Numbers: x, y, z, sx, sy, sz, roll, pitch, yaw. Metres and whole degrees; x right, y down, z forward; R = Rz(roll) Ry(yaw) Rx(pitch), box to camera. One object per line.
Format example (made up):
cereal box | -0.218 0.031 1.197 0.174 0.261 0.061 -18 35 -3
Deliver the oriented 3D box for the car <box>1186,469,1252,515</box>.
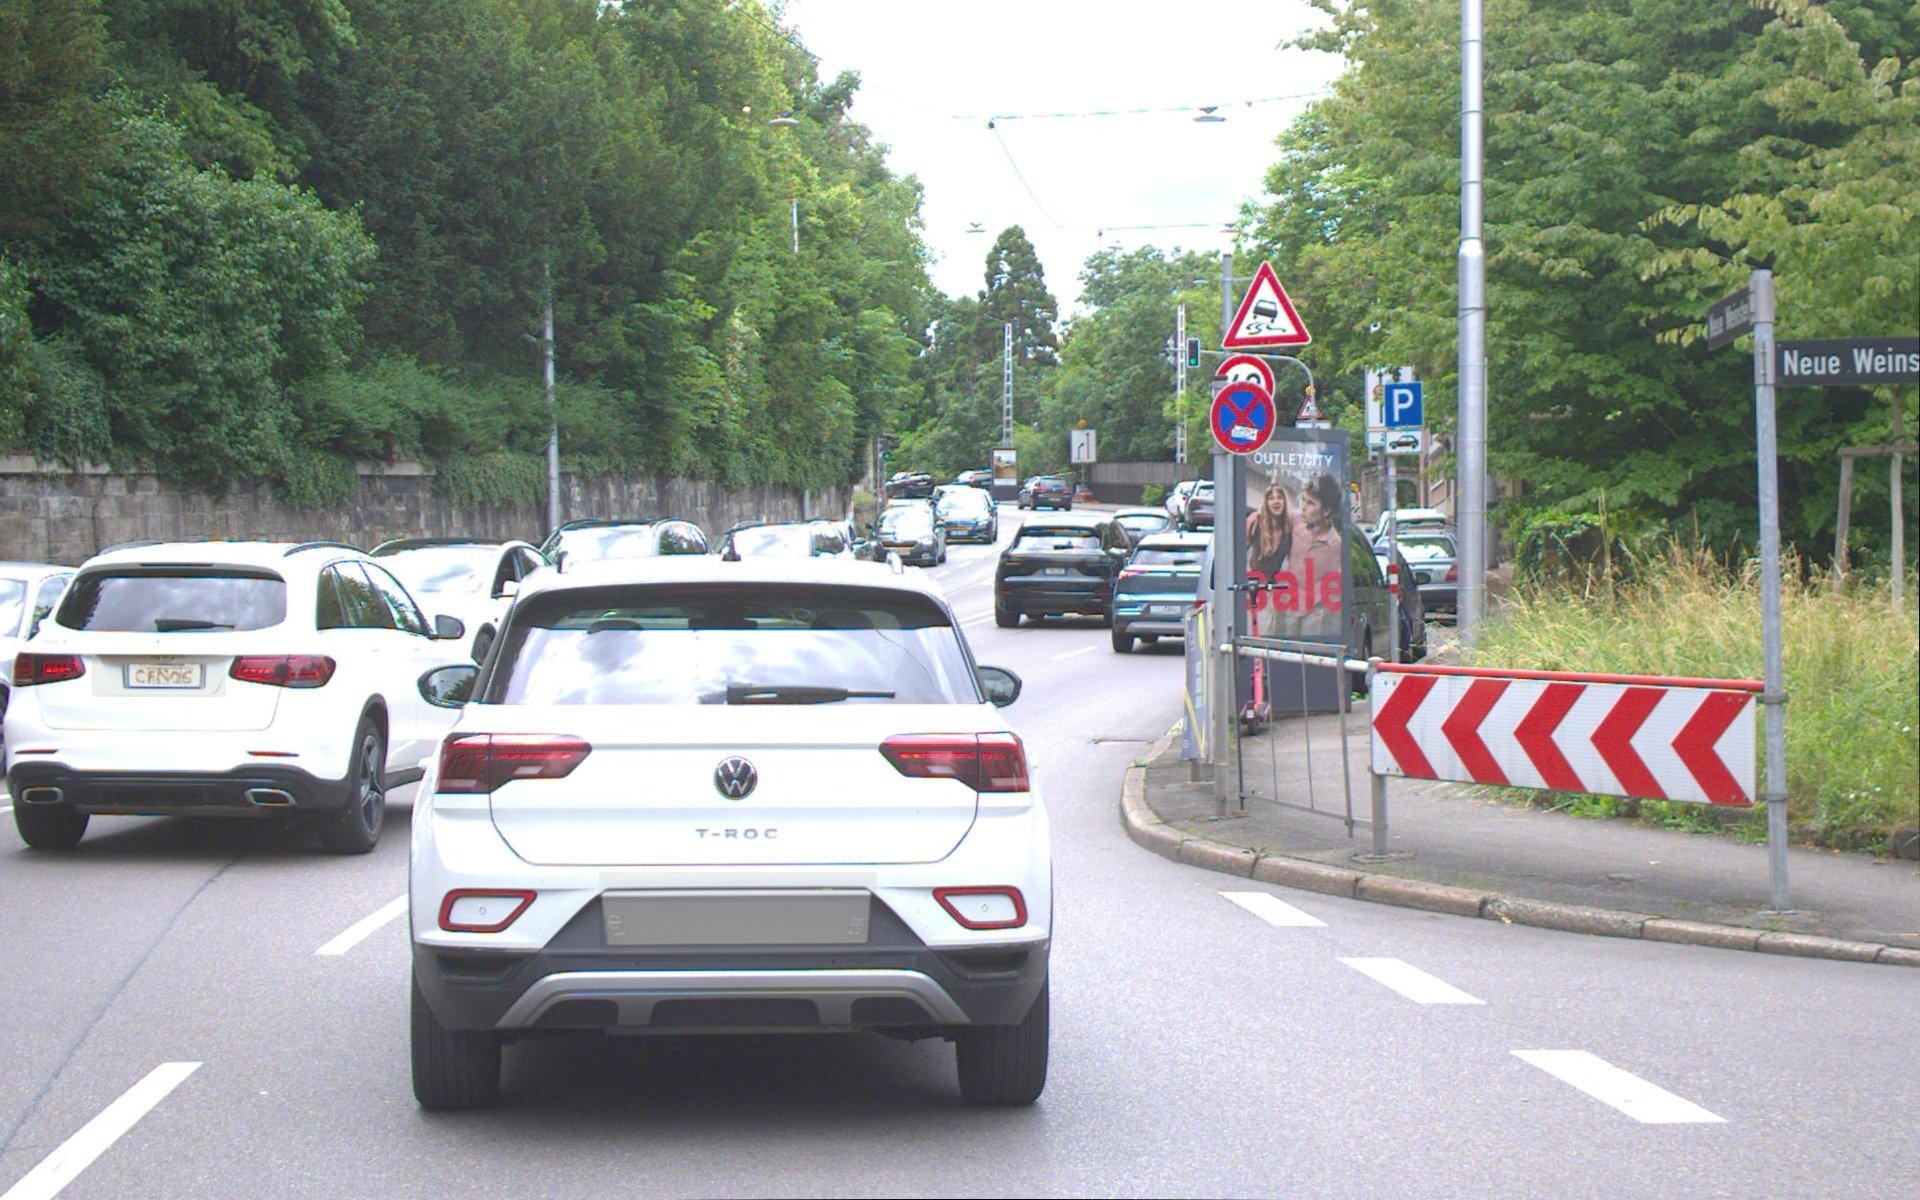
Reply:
car | 8.321 -3.468 110.700 1.646 1.446 3.547 0 2 -4

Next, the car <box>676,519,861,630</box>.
car | -2.683 -0.401 49.081 1.818 1.435 4.061 1 2 9

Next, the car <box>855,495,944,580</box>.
car | -1.434 -1.523 82.929 1.734 2.007 3.931 0 1 5

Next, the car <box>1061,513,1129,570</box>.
car | 3.473 -1.511 88.049 1.499 1.322 3.855 1 3 6

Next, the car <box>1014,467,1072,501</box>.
car | 3.567 -5.004 148.220 1.646 1.446 3.547 -1 2 -13

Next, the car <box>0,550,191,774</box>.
car | -7.132 0.394 24.536 1.757 1.437 4.478 2 1 7

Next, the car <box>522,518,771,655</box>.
car | -3.835 -0.207 42.811 1.894 1.562 4.477 2 1 11

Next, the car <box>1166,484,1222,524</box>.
car | 8.479 -3.478 124.613 1.646 1.446 3.547 0 2 -2

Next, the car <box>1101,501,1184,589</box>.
car | 3.971 -1.209 75.306 1.634 1.813 4.000 -2 1 1

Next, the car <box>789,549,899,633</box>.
car | -2.167 -0.176 65.119 1.650 1.512 3.851 1 0 4

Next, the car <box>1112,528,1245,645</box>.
car | 2.975 -0.218 46.223 1.628 1.415 3.854 1 2 6

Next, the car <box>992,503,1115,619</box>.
car | 1.472 -0.630 52.989 1.788 1.630 3.736 1 3 3

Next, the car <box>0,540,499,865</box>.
car | -3.947 0.479 19.514 1.859 1.600 4.671 1 1 2

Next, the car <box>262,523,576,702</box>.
car | -5.384 0.078 34.793 1.994 1.631 4.397 2 1 7

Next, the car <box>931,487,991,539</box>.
car | 0.044 -2.562 100.661 1.647 1.445 3.547 0 3 1

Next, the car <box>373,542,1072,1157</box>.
car | -0.726 0.625 10.930 1.754 1.547 4.338 1 0 -3

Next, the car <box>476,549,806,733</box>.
car | -2.836 0.324 31.663 1.865 1.529 4.775 1 1 9

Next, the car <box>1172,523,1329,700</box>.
car | 3.047 0.080 35.684 1.495 1.743 3.117 0 1 7
